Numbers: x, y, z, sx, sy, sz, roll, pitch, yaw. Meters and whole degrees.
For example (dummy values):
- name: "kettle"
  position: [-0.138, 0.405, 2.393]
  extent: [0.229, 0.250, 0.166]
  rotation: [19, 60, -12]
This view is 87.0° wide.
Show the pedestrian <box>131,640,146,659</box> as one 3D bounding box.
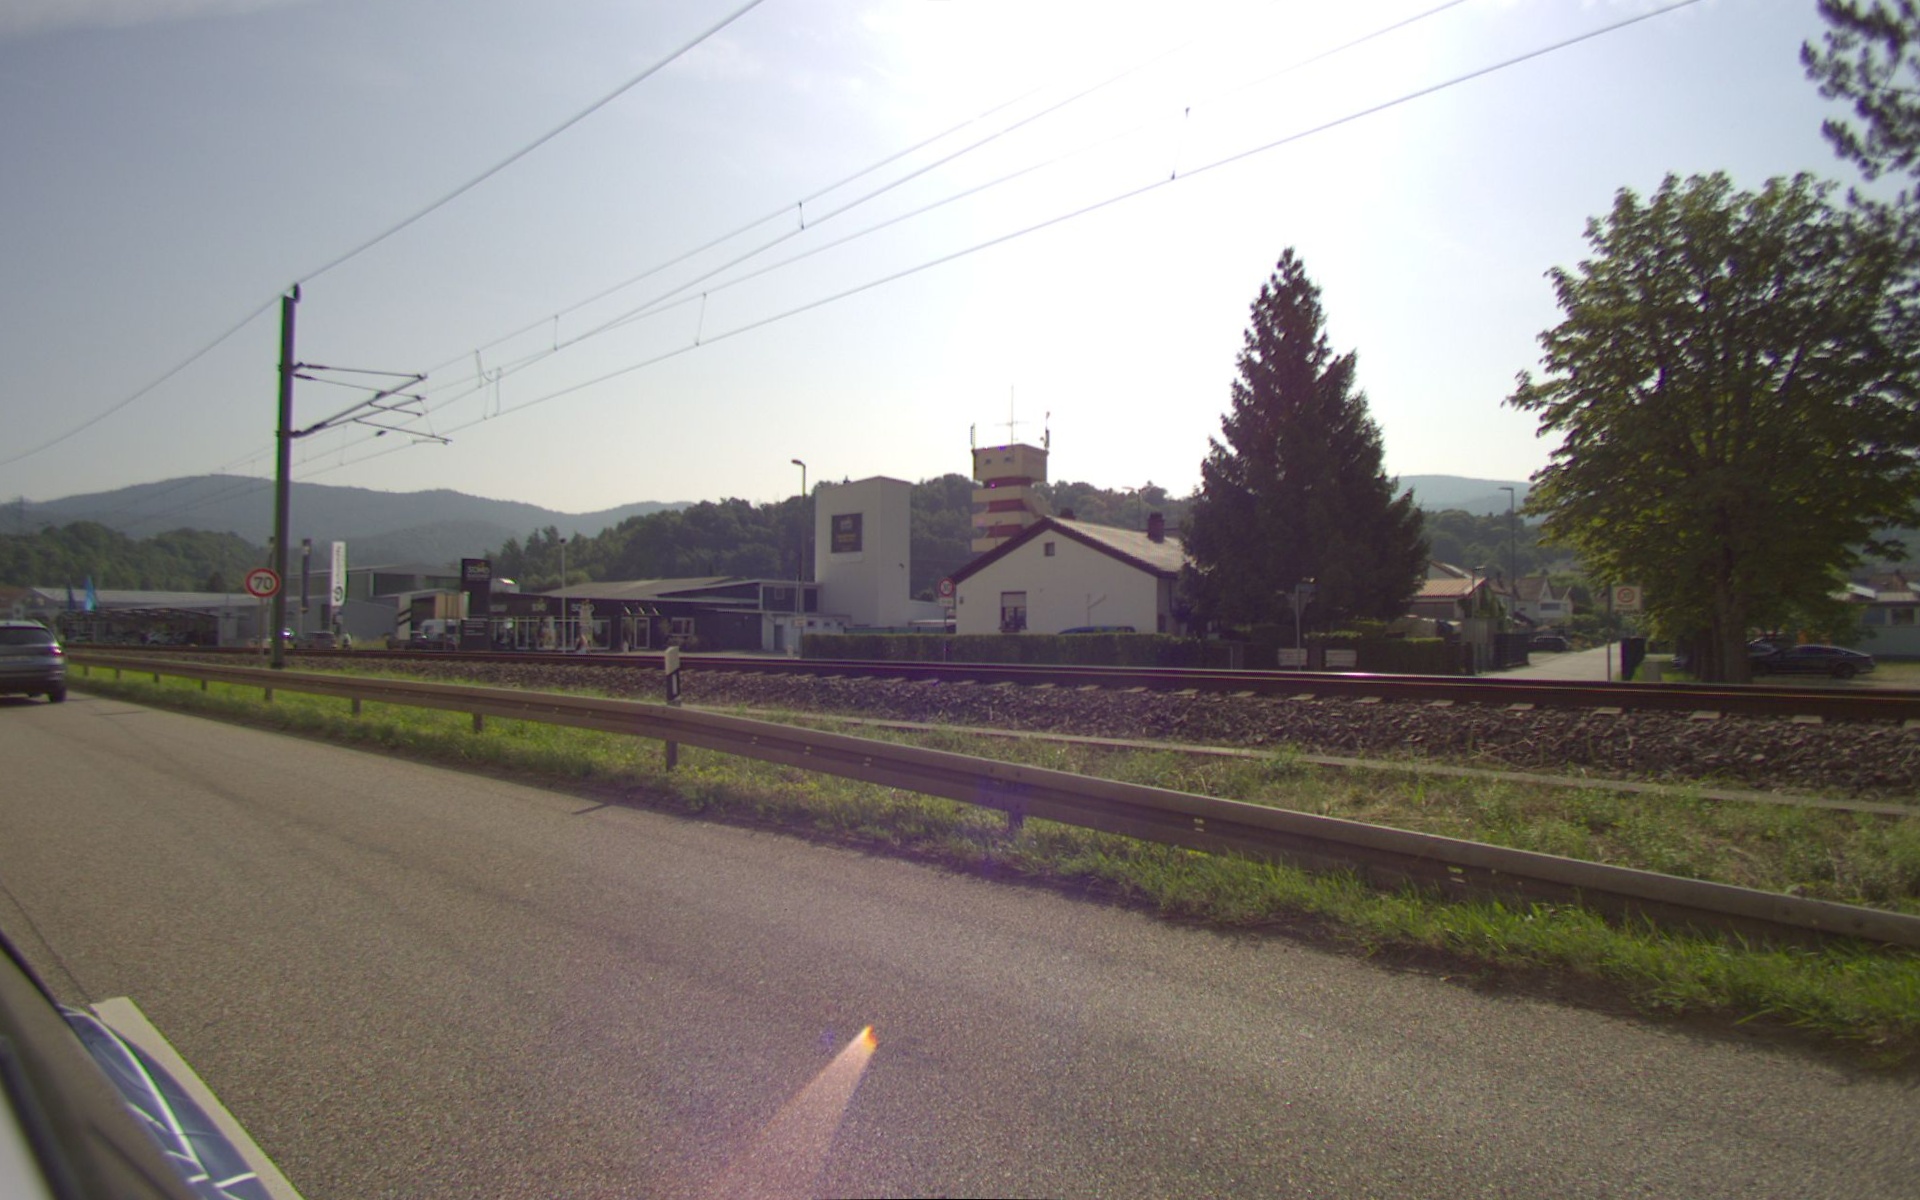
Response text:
- name: "pedestrian"
  position: [-76.738, 4.646, 94.547]
  extent: [0.821, 1.748, 0.807]
  rotation: [2, -4, -17]

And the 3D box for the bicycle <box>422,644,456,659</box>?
- name: "bicycle"
  position: [-38.925, 3.834, 75.696]
  extent: [0.729, 1.139, 2.147]
  rotation: [-1, -3, 37]

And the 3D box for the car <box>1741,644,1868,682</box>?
- name: "car"
  position: [36.372, 2.683, 43.721]
  extent: [3.987, 1.560, 1.665]
  rotation: [-1, -3, 33]

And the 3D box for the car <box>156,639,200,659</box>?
- name: "car"
  position: [-73.732, 4.636, 95.516]
  extent: [1.636, 1.634, 4.041]
  rotation: [-2, 0, -11]

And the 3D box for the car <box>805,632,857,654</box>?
- name: "car"
  position: [-9.848, 3.297, 77.079]
  extent: [3.977, 1.610, 1.693]
  rotation: [-2, -3, 40]

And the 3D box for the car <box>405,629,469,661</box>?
- name: "car"
  position: [-45.777, 3.895, 88.470]
  extent: [6.147, 2.653, 2.352]
  rotation: [0, -2, 35]

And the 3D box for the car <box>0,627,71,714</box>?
- name: "car"
  position: [-19.463, 1.343, 20.276]
  extent: [4.568, 1.612, 1.887]
  rotation: [-1, -2, 41]

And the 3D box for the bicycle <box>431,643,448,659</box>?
- name: "bicycle"
  position: [-37.605, 3.651, 73.114]
  extent: [0.717, 1.139, 2.329]
  rotation: [1, -2, -18]

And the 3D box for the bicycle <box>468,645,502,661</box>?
- name: "bicycle"
  position: [-33.733, 3.750, 71.904]
  extent: [0.727, 1.139, 2.154]
  rotation: [-1, -2, 27]

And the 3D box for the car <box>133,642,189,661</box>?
- name: "car"
  position: [-77.375, 4.955, 98.017]
  extent: [1.659, 1.539, 3.923]
  rotation: [-2, 0, 34]

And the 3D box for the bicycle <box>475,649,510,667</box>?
- name: "bicycle"
  position: [-32.074, 3.966, 69.434]
  extent: [0.727, 1.139, 2.154]
  rotation: [-1, -2, 27]

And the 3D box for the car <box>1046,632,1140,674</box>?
- name: "car"
  position: [4.557, 1.797, 34.789]
  extent: [2.890, 1.362, 1.377]
  rotation: [-1, -3, 37]

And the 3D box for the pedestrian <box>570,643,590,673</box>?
- name: "pedestrian"
  position: [-17.635, 2.690, 47.008]
  extent: [0.672, 1.342, 0.569]
  rotation: [-2, -3, 33]

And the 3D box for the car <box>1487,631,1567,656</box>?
- name: "car"
  position: [34.337, 2.615, 61.375]
  extent: [3.956, 1.464, 1.464]
  rotation: [0, -3, 10]

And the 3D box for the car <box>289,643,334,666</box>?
- name: "car"
  position: [-51.510, 4.301, 80.355]
  extent: [4.359, 1.701, 1.506]
  rotation: [-1, -1, 35]

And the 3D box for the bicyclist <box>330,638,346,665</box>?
- name: "bicyclist"
  position: [-38.075, 3.151, 61.986]
  extent: [0.830, 1.659, 0.527]
  rotation: [-2, -3, 36]

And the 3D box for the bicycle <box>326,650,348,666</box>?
- name: "bicycle"
  position: [-38.225, 3.549, 62.087]
  extent: [1.707, 0.930, 0.540]
  rotation: [-2, -3, 36]

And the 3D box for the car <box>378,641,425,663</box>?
- name: "car"
  position: [-47.188, 4.381, 85.482]
  extent: [3.991, 1.676, 1.851]
  rotation: [0, -2, 35]

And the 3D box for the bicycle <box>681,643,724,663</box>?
- name: "bicycle"
  position: [-19.132, 3.921, 75.293]
  extent: [0.987, 1.298, 3.407]
  rotation: [-1, -1, 33]

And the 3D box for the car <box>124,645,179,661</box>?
- name: "car"
  position: [-78.921, 5.150, 98.831]
  extent: [1.498, 1.335, 3.923]
  rotation: [-2, 0, 34]

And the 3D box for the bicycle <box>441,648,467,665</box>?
- name: "bicycle"
  position: [-35.710, 3.976, 71.392]
  extent: [2.170, 1.139, 0.721]
  rotation: [-1, -3, 36]
